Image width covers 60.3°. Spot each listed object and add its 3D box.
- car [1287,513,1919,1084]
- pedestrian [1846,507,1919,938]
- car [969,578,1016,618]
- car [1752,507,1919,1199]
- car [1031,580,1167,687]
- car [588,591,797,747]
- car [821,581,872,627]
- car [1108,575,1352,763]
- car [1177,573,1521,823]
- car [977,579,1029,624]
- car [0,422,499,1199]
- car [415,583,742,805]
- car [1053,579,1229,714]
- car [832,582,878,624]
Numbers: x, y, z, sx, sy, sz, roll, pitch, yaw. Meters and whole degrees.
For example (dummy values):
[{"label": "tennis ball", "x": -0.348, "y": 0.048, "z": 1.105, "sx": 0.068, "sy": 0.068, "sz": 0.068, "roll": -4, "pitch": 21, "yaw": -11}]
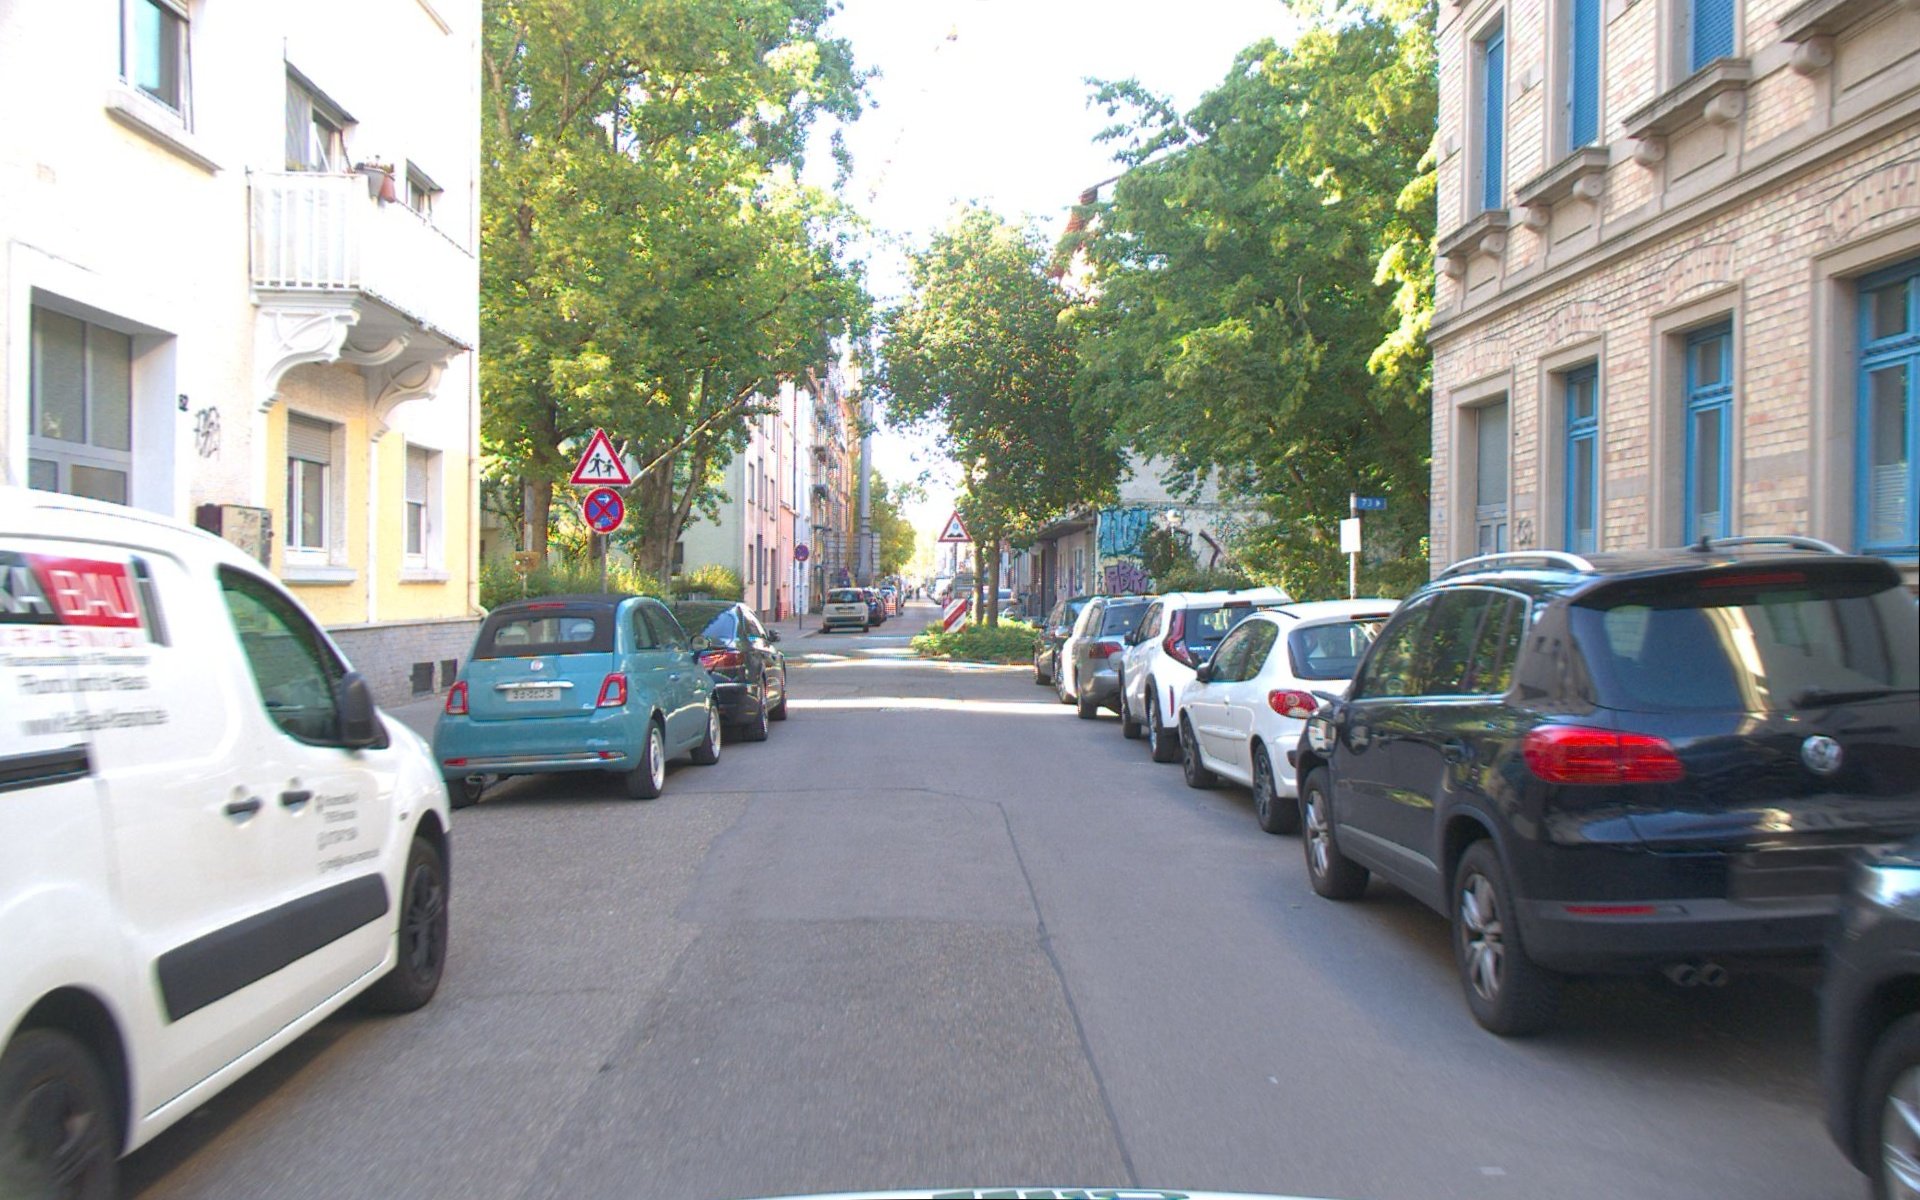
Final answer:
[{"label": "car", "x": 2.662, "y": 0.603, "z": 7.113, "sx": 1.641, "sy": 1.711, "sz": 4.094, "roll": -2, "pitch": 0, "yaw": 0}, {"label": "pedestrian", "x": 4.088, "y": 0.475, "z": 6.633, "sx": 0.672, "sy": 1.689, "sz": 0.717, "roll": -1, "pitch": 0, "yaw": -2}, {"label": "car", "x": 1.289, "y": -0.099, "z": 66.630, "sx": 1.642, "sy": 1.513, "sz": 3.636, "roll": -2, "pitch": 1, "yaw": -2}, {"label": "car", "x": 2.892, "y": 0.589, "z": 1.990, "sx": 1.642, "sy": 1.655, "sz": 4.249, "roll": -4, "pitch": 1, "yaw": -2}, {"label": "car", "x": 2.129, "y": 0.458, "z": 26.231, "sx": 1.642, "sy": 1.513, "sz": 4.093, "roll": -2, "pitch": 1, "yaw": -2}, {"label": "car", "x": -2.711, "y": 0.635, "z": 17.577, "sx": 1.636, "sy": 1.384, "sz": 4.048, "roll": -2, "pitch": 1, "yaw": -2}, {"label": "car", "x": -3.996, "y": 0.122, "z": 58.792, "sx": 1.642, "sy": 1.513, "sz": 4.093, "roll": -2, "pitch": 1, "yaw": -2}, {"label": "car", "x": 2.527, "y": 0.579, "z": 16.335, "sx": 1.642, "sy": 1.588, "sz": 3.795, "roll": -2, "pitch": 1, "yaw": -2}, {"label": "car", "x": 2.667, "y": 0.587, "z": 12.126, "sx": 1.535, "sy": 1.509, "sz": 3.618, "roll": -2, "pitch": 1, "yaw": -2}, {"label": "car", "x": 1.520, "y": 0.034, "z": 60.123, "sx": 1.642, "sy": 1.513, "sz": 3.636, "roll": -2, "pitch": 1, "yaw": -2}, {"label": "car", "x": -2.674, "y": 0.584, "z": 4.591, "sx": 1.729, "sy": 1.816, "sz": 4.038, "roll": -2, "pitch": 1, "yaw": -2}, {"label": "car", "x": -2.917, "y": 0.637, "z": 13.470, "sx": 1.635, "sy": 1.495, "sz": 3.821, "roll": -2, "pitch": 1, "yaw": 2}, {"label": "car", "x": 2.216, "y": 0.515, "z": 21.231, "sx": 1.642, "sy": 1.513, "sz": 4.093, "roll": -2, "pitch": 1, "yaw": -2}, {"label": "car", "x": -4.034, "y": 0.093, "z": 64.026, "sx": 1.642, "sy": 1.513, "sz": 4.093, "roll": -2, "pitch": 1, "yaw": -2}]
